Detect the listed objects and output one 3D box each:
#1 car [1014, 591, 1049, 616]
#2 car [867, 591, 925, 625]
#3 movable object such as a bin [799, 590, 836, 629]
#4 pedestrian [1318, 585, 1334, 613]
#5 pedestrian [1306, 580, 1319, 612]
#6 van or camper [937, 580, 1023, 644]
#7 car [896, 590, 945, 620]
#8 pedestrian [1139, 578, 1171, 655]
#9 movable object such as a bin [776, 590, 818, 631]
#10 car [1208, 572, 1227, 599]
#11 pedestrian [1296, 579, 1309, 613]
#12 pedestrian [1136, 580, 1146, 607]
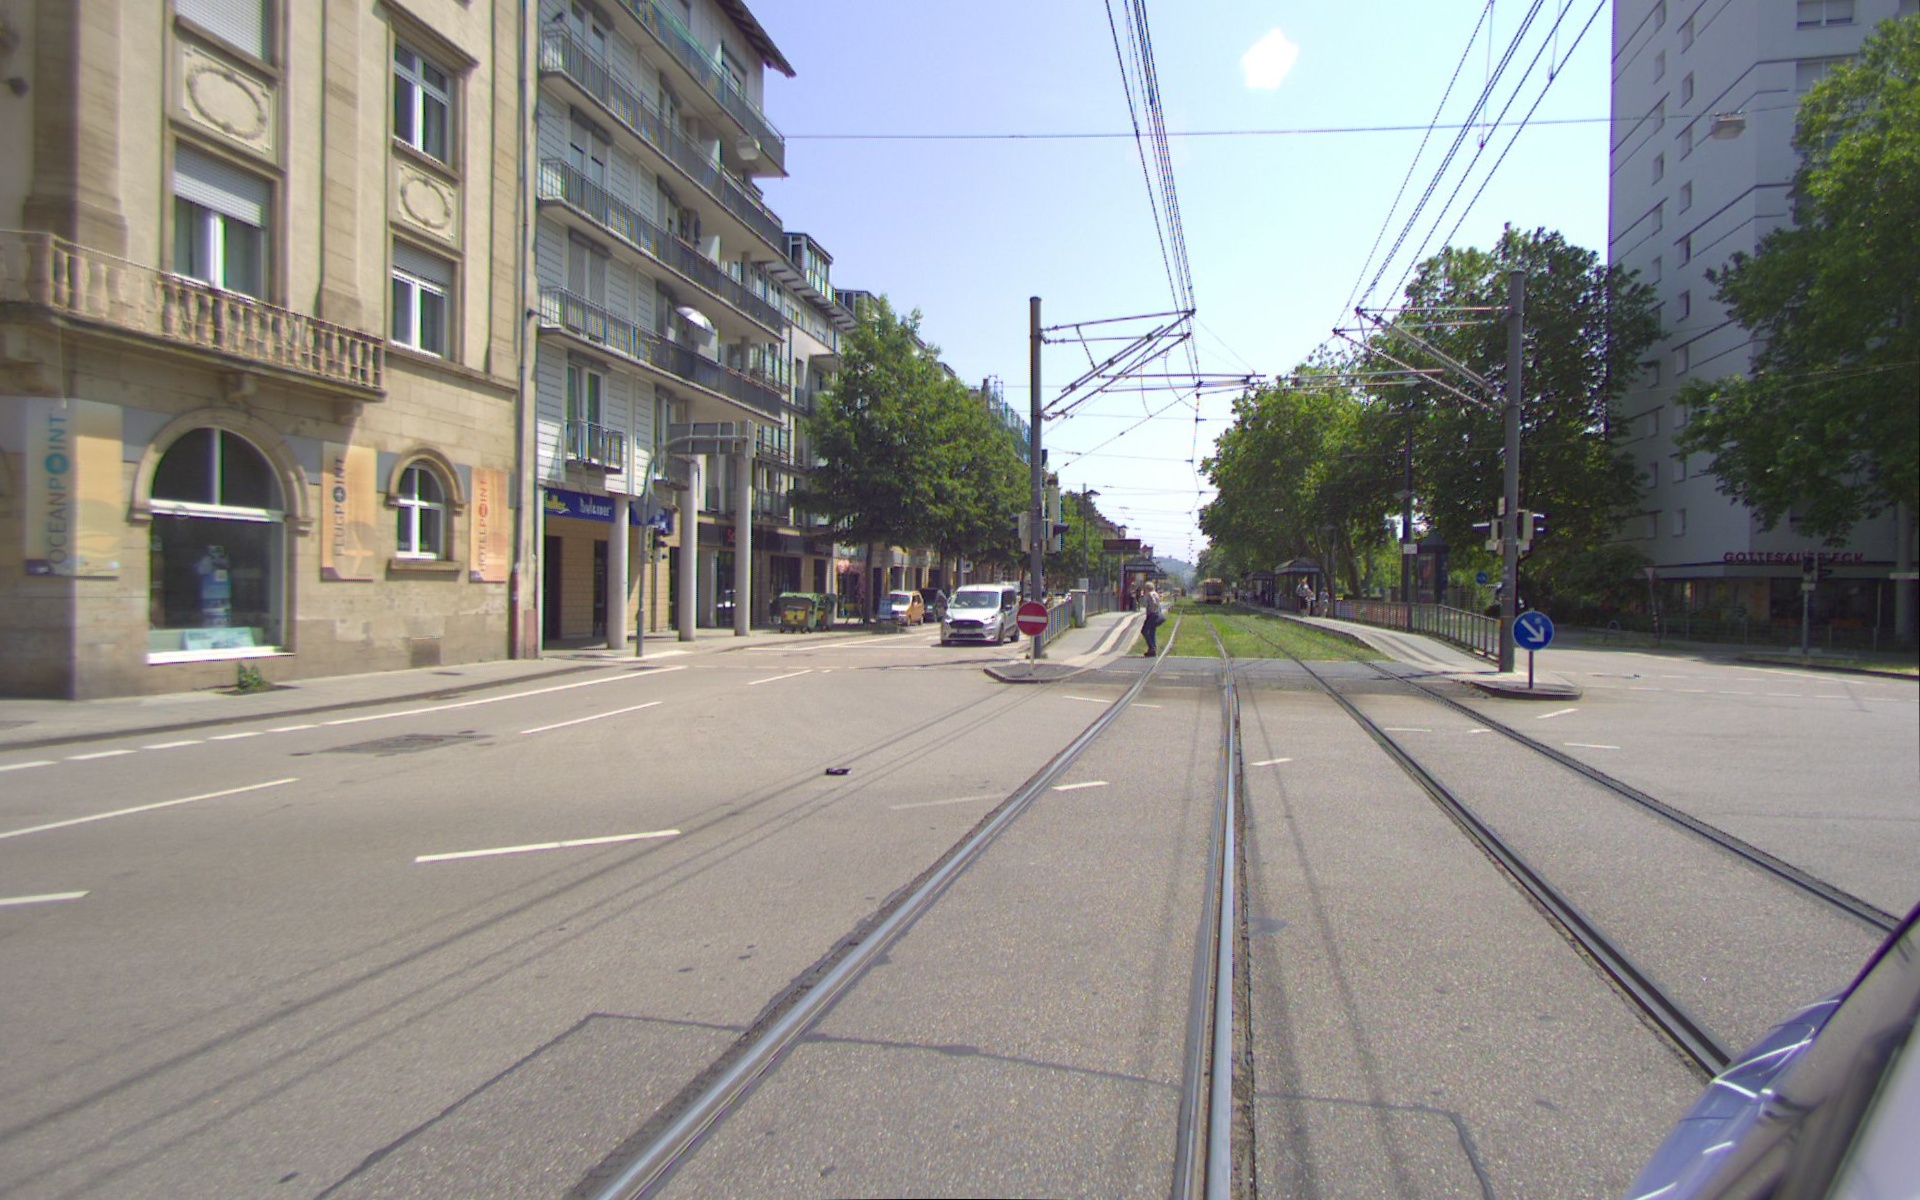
[{"bbox_3d":[5.078,0.235,71.539,1.969,1.683,3.987,1,1,11],"label":"car"},{"bbox_3d":[-3.090,0.361,49.589,1.968,1.550,3.989,0,1,10],"label":"car"},{"bbox_3d":[-5.428,0.369,38.562,1.194,1.454,1.006,0,0,7],"label":"movable object such as a bin"},{"bbox_3d":[18.264,-0.042,50.509,0.669,1.366,0.629,0,0,12],"label":"pedestrian"},{"bbox_3d":[17.743,-0.222,50.973,0.539,1.600,0.513,0,0,12],"label":"pedestrian"},{"bbox_3d":[0.685,0.310,30.471,1.740,1.780,4.577,-1,0,12],"label":"van or camper"},{"bbox_3d":[-2.105,0.262,55.064,1.862,1.550,3.989,0,1,10],"label":"car"},{"bbox_3d":[4.500,0.371,23.302,0.670,1.727,0.551,0,0,16],"label":"pedestrian"},{"bbox_3d":[-5.868,0.380,36.512,1.198,1.454,1.003,0,0,16],"label":"movable object such as a bin"},{"bbox_3d":[34.100,-1.922,134.245,2.242,3.381,11.985,0,1,13],"label":"car"},{"bbox_3d":[16.670,-0.188,49.258,0.545,1.626,0.677,0,0,12],"label":"pedestrian"},{"bbox_3d":[11.171,-0.388,62.434,0.542,1.626,0.551,0,0,13],"label":"pedestrian"}]
